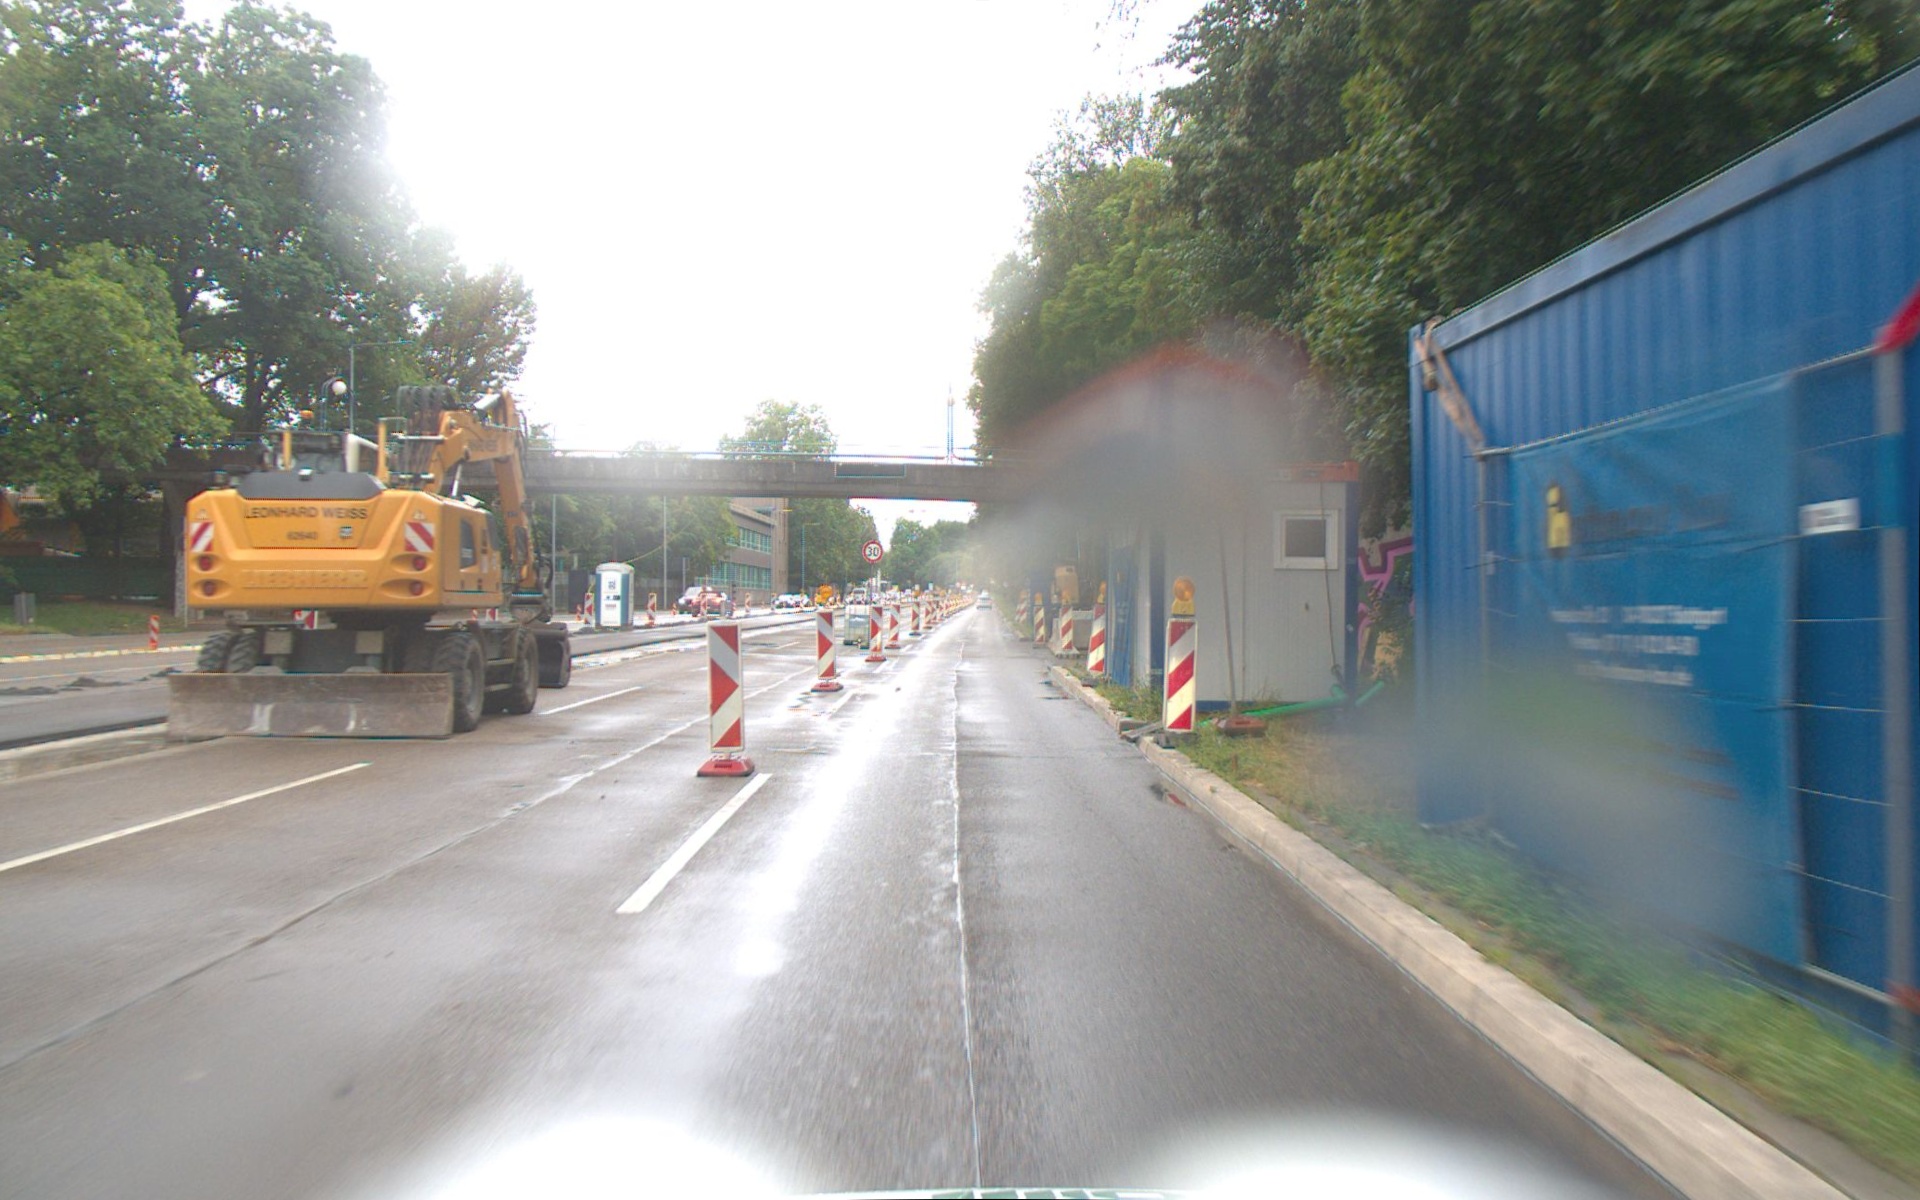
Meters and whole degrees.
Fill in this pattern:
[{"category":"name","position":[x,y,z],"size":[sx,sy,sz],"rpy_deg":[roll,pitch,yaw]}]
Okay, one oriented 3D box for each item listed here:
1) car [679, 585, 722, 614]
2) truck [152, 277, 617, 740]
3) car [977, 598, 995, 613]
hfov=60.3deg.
[{"category":"car","position":[-16.942,-0.027,108.177],"size":[1.930,1.837,4.608],"rpy_deg":[0,0,2]},{"category":"truck","position":[-6.572,-0.874,21.107],"size":[2.840,4.333,10.746],"rpy_deg":[1,0,-4]},{"category":"car","position":[2.924,0.575,184.560],"size":[1.952,1.668,4.000],"rpy_deg":[0,0,0]}]
